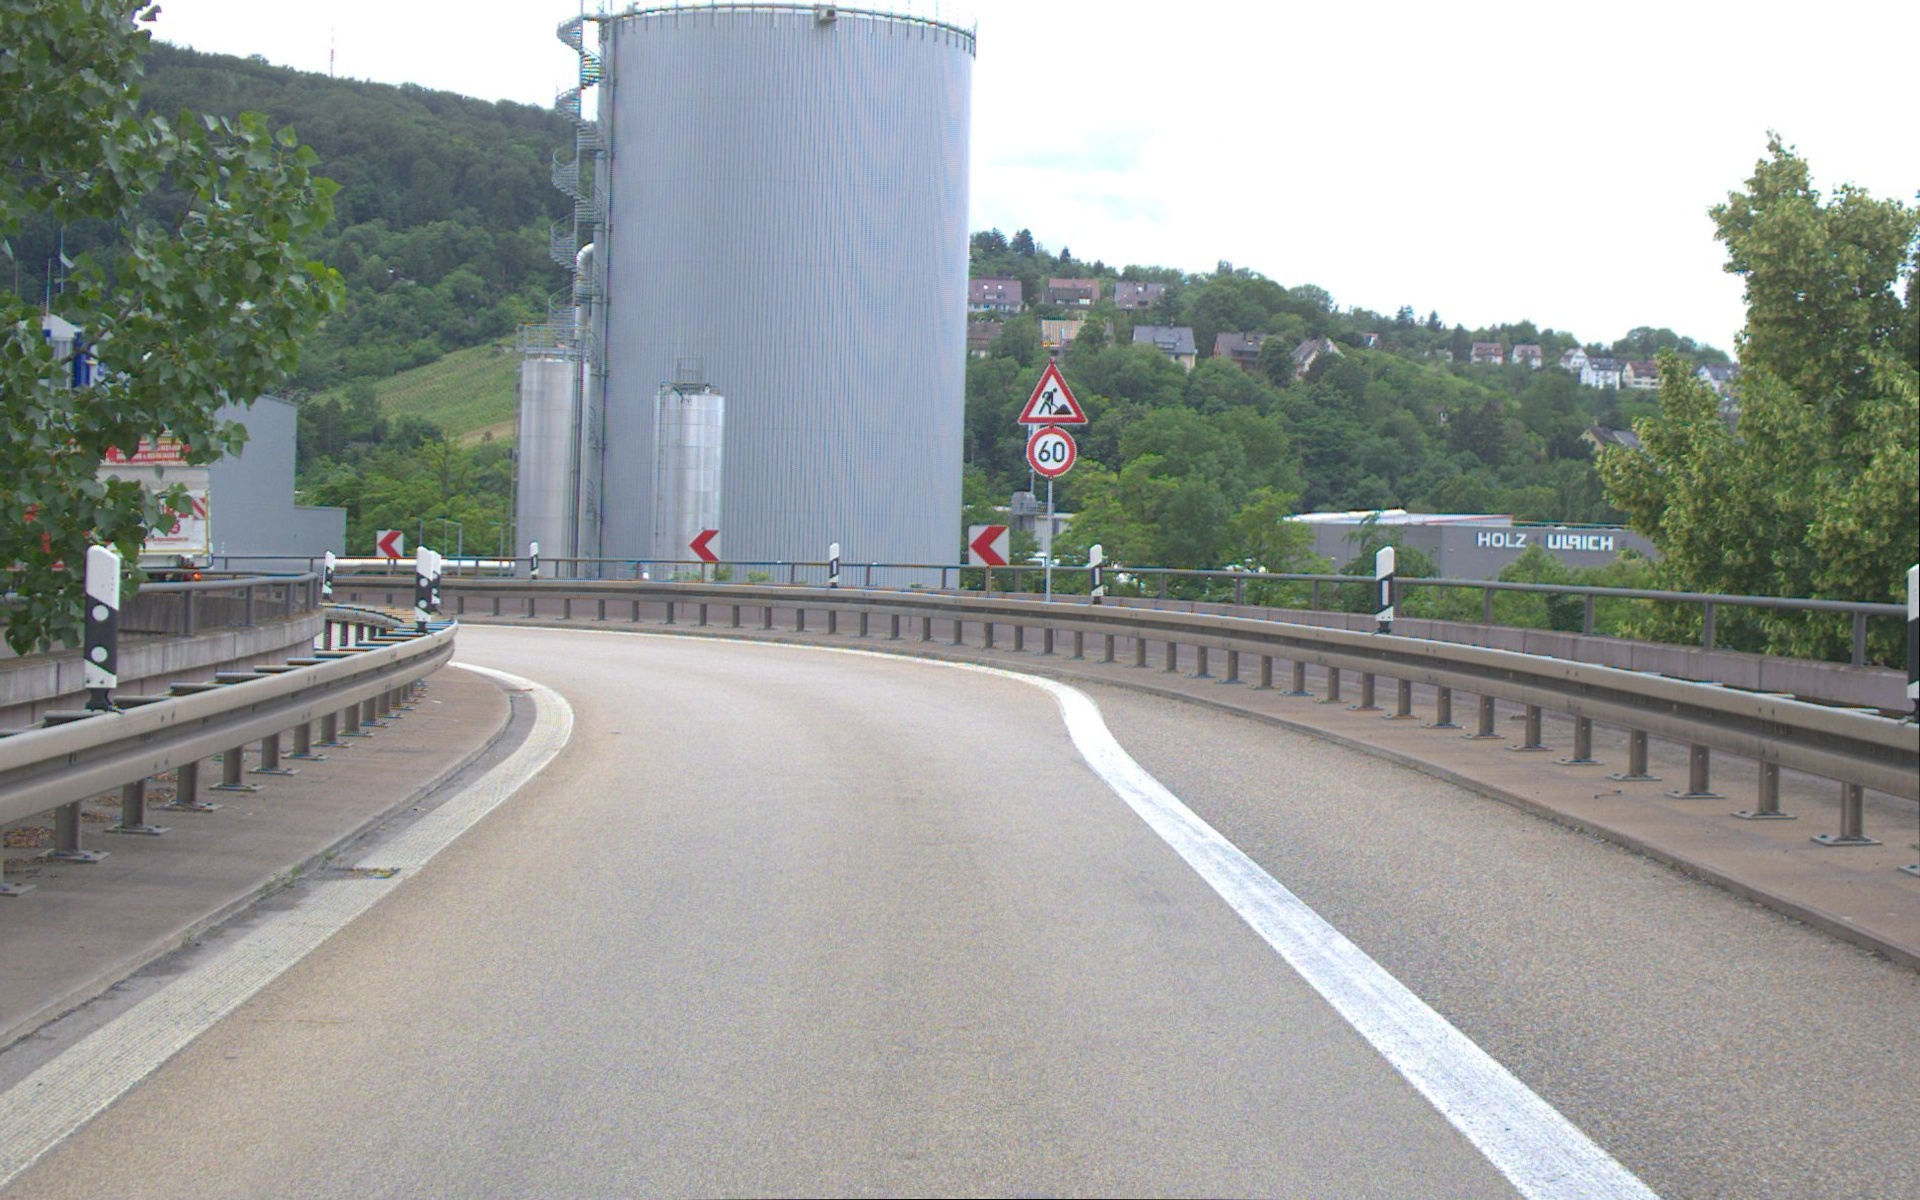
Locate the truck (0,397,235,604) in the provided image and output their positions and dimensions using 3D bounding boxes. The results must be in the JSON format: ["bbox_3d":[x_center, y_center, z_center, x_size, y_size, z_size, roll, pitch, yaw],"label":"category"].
[{"bbox_3d":[-17.079,-1.836,65.064,3.052,3.660,7.924,0,1,-41],"label":"truck"}]
